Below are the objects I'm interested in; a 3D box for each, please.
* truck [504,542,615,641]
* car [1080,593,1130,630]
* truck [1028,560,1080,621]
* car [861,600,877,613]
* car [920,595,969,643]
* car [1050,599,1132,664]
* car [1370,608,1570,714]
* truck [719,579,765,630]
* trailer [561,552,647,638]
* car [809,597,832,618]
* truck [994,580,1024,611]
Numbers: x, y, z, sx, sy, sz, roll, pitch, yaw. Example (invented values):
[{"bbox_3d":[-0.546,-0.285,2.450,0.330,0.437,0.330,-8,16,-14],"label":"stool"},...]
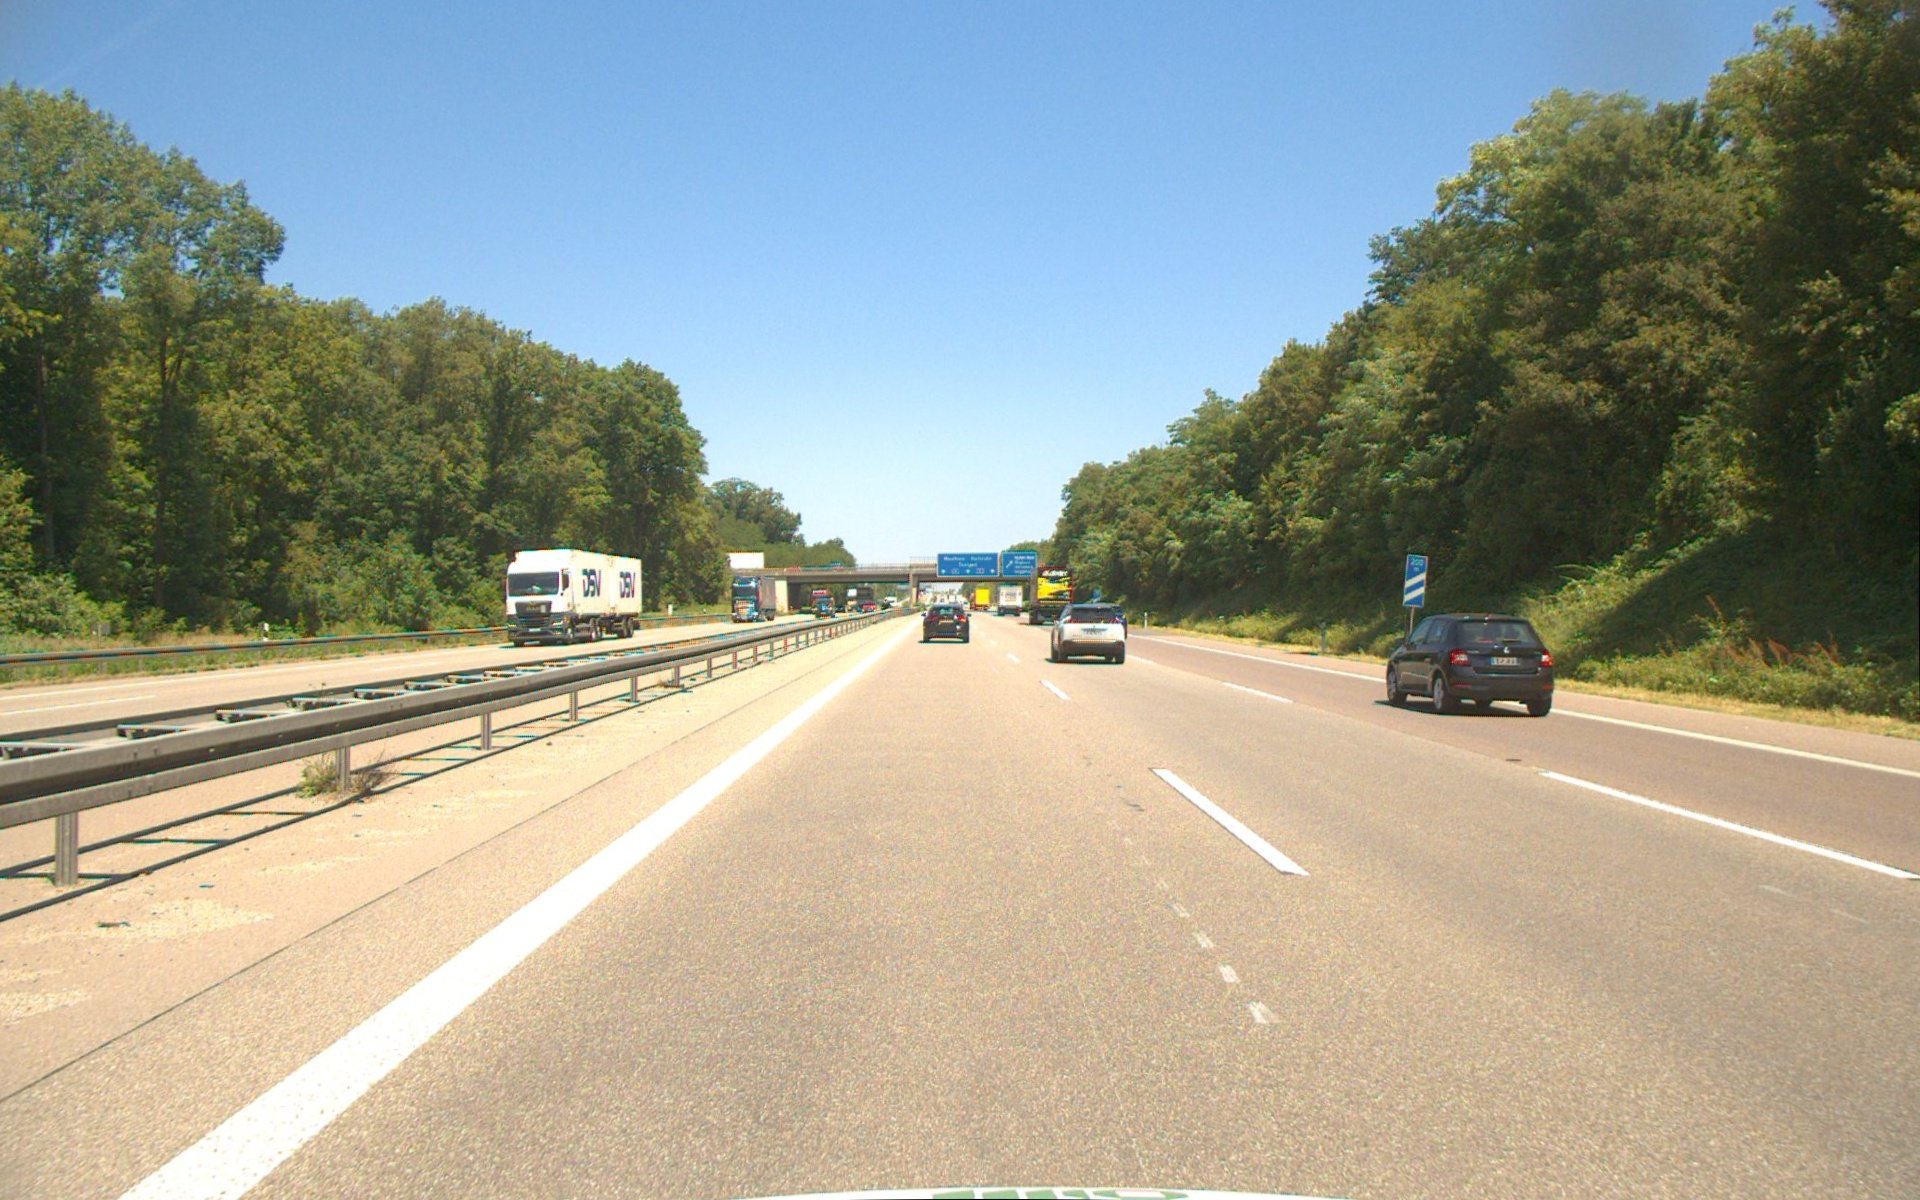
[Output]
[{"bbox_3d":[-17.755,-0.313,74.012,2.528,4.078,10.336,1,0,-1],"label":"truck"},{"bbox_3d":[6.573,0.527,75.270,1.832,1.583,4.201,1,0,-1],"label":"car"},{"bbox_3d":[6.669,-0.592,118.949,2.914,4.107,10.979,2,0,-1],"label":"truck"},{"bbox_3d":[-11.819,0.844,215.238,1.696,1.613,4.644,1,0,0],"label":"car"},{"bbox_3d":[-0.590,0.726,63.126,1.790,1.736,3.999,1,0,-1],"label":"car"},{"bbox_3d":[3.489,0.823,44.814,1.790,1.636,4.807,0,0,-1],"label":"car"},{"bbox_3d":[7.779,0.877,25.665,1.636,1.473,4.573,1,0,-1],"label":"car"},{"bbox_3d":[-19.640,0.409,149.418,3.256,4.417,6.611,1,0,-1],"label":"truck"},{"bbox_3d":[-17.851,-0.213,83.462,2.526,4.059,8.557,1,0,-1],"label":"trailer"},{"bbox_3d":[-14.634,0.807,173.669,1.953,2.049,5.358,-3,0,-1],"label":"car"},{"bbox_3d":[5.745,-0.468,192.049,2.965,3.377,10.775,1,0,4],"label":"truck"}]
